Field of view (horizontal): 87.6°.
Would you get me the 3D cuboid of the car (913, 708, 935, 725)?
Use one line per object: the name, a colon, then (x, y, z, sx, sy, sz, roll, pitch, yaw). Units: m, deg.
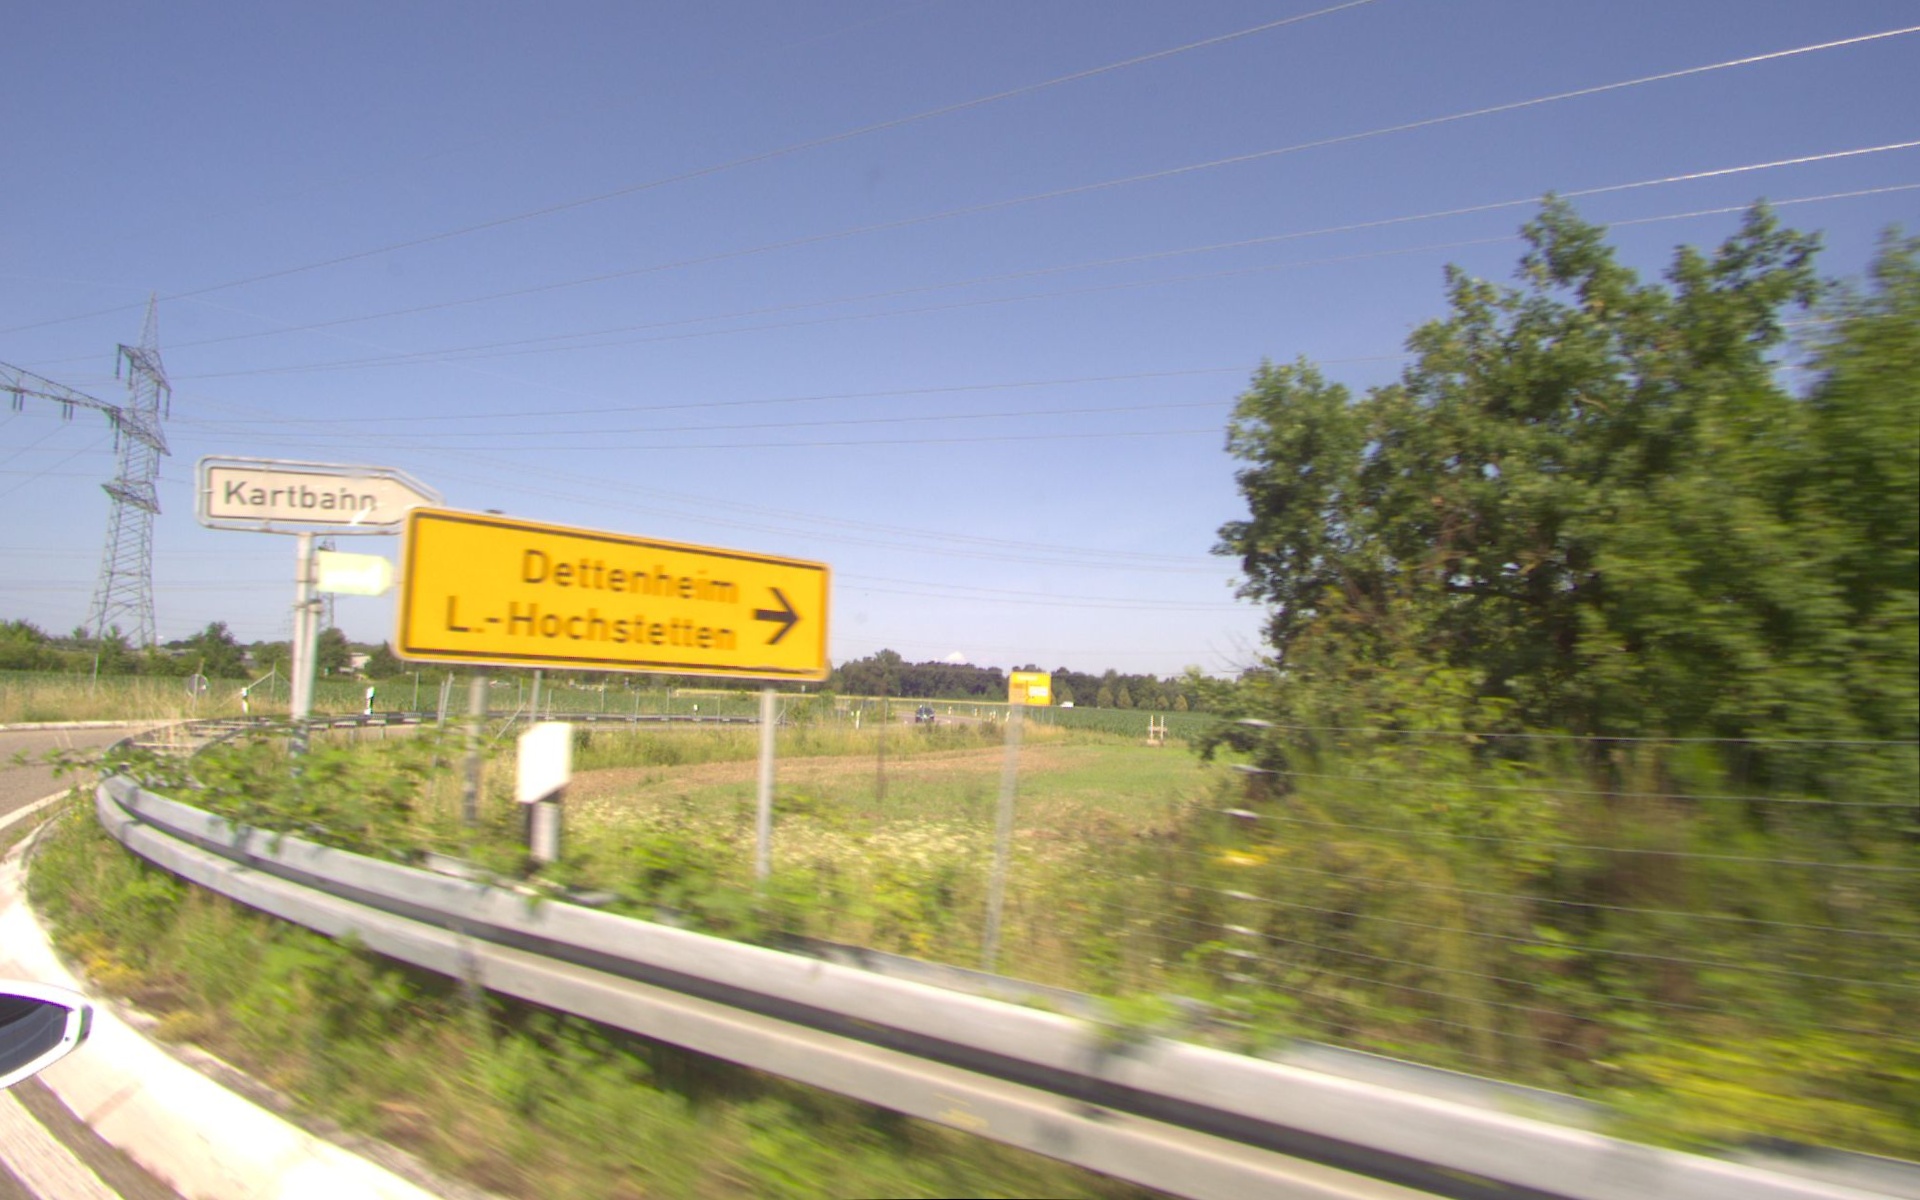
car: (-3.382, 11.083, 95.082, 1.746, 1.473, 4.601, 2, -6, 2)
